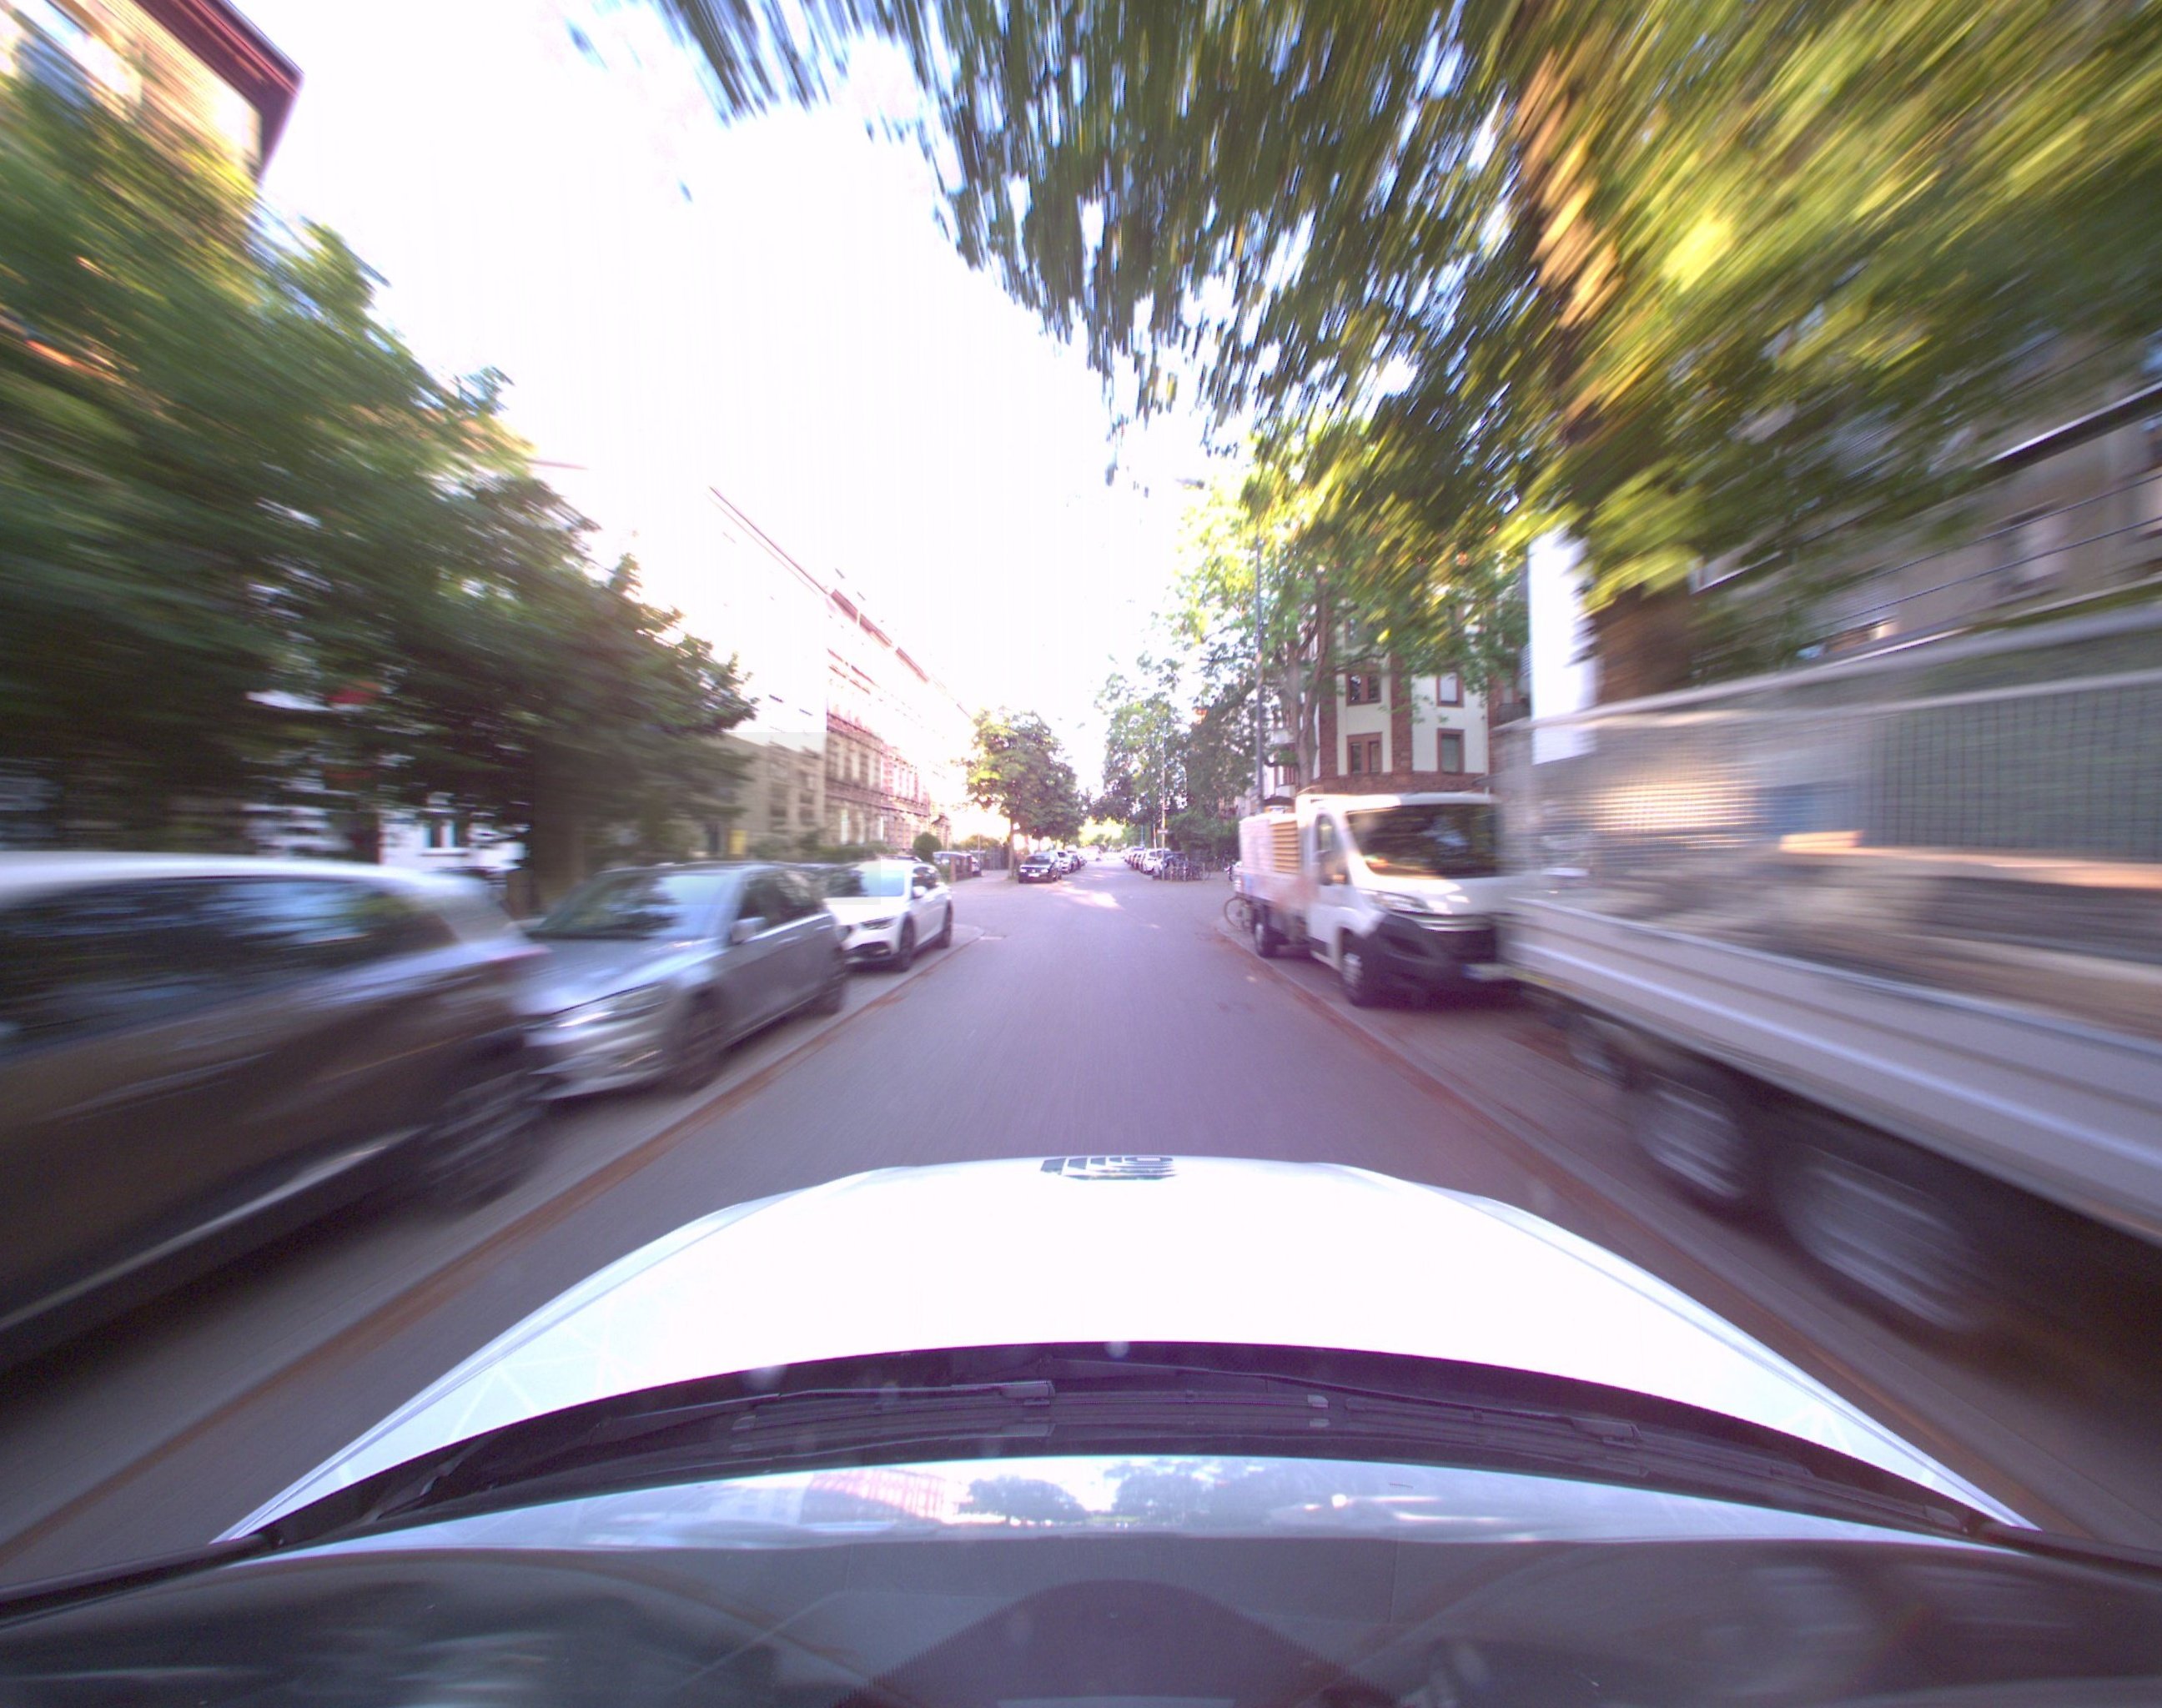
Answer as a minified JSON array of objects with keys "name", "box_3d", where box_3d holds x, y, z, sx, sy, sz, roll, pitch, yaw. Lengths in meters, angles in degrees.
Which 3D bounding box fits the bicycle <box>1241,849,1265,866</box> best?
[{"name":"bicycle","box_3d":[11.290,0.212,53.482,1.504,1.034,0.330,-2,1,-1]}]

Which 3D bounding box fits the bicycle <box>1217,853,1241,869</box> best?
[{"name":"bicycle","box_3d":[9.820,0.455,53.967,1.504,1.034,0.330,-2,1,-1]}]

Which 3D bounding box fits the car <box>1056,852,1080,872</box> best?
[{"name":"car","box_3d":[-1.026,0.650,66.594,1.709,1.566,3.790,0,0,2]}]

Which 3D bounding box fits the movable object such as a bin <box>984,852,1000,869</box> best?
[{"name":"movable object such as a bin","box_3d":[-7.120,0.510,65.342,1.007,1.321,1.007,2,1,6]}]

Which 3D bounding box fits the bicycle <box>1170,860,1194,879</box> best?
[{"name":"bicycle","box_3d":[5.355,0.816,43.291,1.228,0.947,0.328,-2,1,-21]}]

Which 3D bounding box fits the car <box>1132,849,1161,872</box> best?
[{"name":"car","box_3d":[4.651,0.476,58.330,1.681,1.606,4.208,0,0,-1]}]

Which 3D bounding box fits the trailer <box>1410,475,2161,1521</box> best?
[{"name":"trailer","box_3d":[3.377,0.275,3.641,1.947,2.295,4.646,-3,0,2]}]

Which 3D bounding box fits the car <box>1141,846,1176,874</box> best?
[{"name":"car","box_3d":[4.983,0.402,53.076,1.792,1.711,4.599,-1,0,-1]}]

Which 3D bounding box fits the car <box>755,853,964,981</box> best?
[{"name":"car","box_3d":[-3.082,0.774,12.449,1.683,1.502,4.741,2,1,2]}]

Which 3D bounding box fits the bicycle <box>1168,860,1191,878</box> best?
[{"name":"bicycle","box_3d":[5.296,0.806,43.906,1.230,0.951,0.328,-2,1,-26]}]

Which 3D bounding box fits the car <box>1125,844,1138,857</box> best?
[{"name":"car","box_3d":[7.251,-0.520,117.484,1.681,1.811,3.938,0,0,-1]}]

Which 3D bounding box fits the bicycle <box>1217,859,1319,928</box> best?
[{"name":"bicycle","box_3d":[3.729,0.782,16.295,1.898,1.258,0.406,-3,0,-4]}]

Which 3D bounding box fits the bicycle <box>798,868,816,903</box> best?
[{"name":"bicycle","box_3d":[-9.238,1.028,27.440,0.368,1.109,1.837,-1,0,-24]}]

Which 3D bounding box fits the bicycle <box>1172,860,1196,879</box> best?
[{"name":"bicycle","box_3d":[5.401,0.801,42.589,1.228,0.957,0.328,-2,1,-21]}]

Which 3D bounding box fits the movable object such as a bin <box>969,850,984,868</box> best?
[{"name":"movable object such as a bin","box_3d":[-8.356,0.387,65.204,1.097,1.414,1.001,1,1,-12]}]

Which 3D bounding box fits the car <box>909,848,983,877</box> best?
[{"name":"car","box_3d":[-8.165,0.492,49.448,4.079,1.527,1.709,2,0,0]}]

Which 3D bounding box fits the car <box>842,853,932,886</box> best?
[{"name":"car","box_3d":[-8.832,0.683,37.211,3.541,1.447,1.823,0,1,10]}]

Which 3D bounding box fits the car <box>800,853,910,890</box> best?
[{"name":"car","box_3d":[-9.555,0.726,34.596,4.065,1.447,1.824,0,1,12]}]

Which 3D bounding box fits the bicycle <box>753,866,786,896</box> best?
[{"name":"bicycle","box_3d":[-11.637,0.995,30.450,0.394,1.062,1.879,-1,0,3]}]

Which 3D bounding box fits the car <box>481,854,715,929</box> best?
[{"name":"car","box_3d":[-11.416,0.849,19.535,4.449,1.552,1.704,-1,1,-8]}]

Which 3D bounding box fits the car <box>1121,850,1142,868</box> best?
[{"name":"car","box_3d":[4.690,0.449,76.530,1.681,1.606,3.938,0,0,-1]}]

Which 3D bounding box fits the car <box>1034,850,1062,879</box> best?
[{"name":"car","box_3d":[-1.878,0.577,47.118,1.591,1.603,3.742,0,0,-1]}]

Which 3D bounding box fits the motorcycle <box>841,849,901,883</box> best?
[{"name":"motorcycle","box_3d":[-10.348,0.588,40.166,2.834,1.638,0.677,-1,0,10]}]

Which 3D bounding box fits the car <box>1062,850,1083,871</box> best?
[{"name":"car","box_3d":[-0.728,0.511,72.085,1.709,1.790,4.217,0,0,2]}]

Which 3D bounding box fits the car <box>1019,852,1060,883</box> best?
[{"name":"car","box_3d":[-2.126,0.666,42.325,1.609,1.470,3.966,0,0,4]}]

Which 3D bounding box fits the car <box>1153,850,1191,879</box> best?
[{"name":"car","box_3d":[5.243,0.581,47.168,1.682,1.592,3.656,-1,0,-2]}]

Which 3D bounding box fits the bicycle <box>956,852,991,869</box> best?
[{"name":"bicycle","box_3d":[-8.284,0.505,62.923,2.515,1.192,0.645,2,1,7]}]

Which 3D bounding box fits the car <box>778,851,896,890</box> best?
[{"name":"car","box_3d":[-9.621,0.647,32.233,4.067,1.447,1.714,0,1,10]}]

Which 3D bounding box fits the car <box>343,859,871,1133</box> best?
[{"name":"car","box_3d":[-3.222,0.807,6.750,1.683,1.502,4.404,-1,0,2]}]

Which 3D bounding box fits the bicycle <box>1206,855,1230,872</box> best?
[{"name":"bicycle","box_3d":[8.971,0.628,53.272,1.504,1.034,0.330,-2,1,-1]}]

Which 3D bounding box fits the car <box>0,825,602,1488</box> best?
[{"name":"car","box_3d":[-3.405,0.707,2.124,1.684,1.563,4.401,2,1,0]}]

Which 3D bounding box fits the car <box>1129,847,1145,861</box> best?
[{"name":"car","box_3d":[6.390,-0.009,92.662,1.534,1.521,3.430,0,0,-1]}]

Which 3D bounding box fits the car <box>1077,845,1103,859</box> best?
[{"name":"car","box_3d":[1.558,-0.371,139.628,4.335,2.318,1.745,0,0,0]}]

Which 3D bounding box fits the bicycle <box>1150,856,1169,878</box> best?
[{"name":"bicycle","box_3d":[4.254,0.696,44.155,0.439,1.173,1.646,-1,0,27]}]

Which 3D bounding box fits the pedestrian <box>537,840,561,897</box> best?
[{"name":"pedestrian","box_3d":[-17.103,0.450,26.173,0.502,1.764,0.619,0,3,-20]}]

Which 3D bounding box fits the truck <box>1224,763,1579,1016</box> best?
[{"name":"truck","box_3d":[3.487,0.333,10.731,1.971,2.244,6.775,-1,0,0]}]

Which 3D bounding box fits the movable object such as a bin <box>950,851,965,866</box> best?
[{"name":"movable object such as a bin","box_3d":[-9.951,0.344,65.597,1.097,1.209,1.001,1,1,-12]}]

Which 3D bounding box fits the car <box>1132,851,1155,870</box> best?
[{"name":"car","box_3d":[5.245,0.518,68.460,1.680,1.441,4.211,-3,0,2]}]

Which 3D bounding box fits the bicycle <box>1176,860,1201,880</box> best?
[{"name":"bicycle","box_3d":[5.577,0.828,42.192,1.226,0.963,0.329,-1,1,-15]}]

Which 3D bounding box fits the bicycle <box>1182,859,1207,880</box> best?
[{"name":"bicycle","box_3d":[5.813,0.798,41.637,1.221,0.987,0.330,-2,1,-2]}]

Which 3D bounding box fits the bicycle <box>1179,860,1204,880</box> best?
[{"name":"bicycle","box_3d":[5.587,0.816,41.270,1.220,0.987,0.330,-2,1,-1]}]

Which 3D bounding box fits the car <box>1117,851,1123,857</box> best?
[{"name":"car","box_3d":[11.236,-0.080,235.867,1.709,1.596,3.484,0,0,2]}]

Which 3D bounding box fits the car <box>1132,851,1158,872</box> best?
[{"name":"car","box_3d":[4.902,0.572,63.122,1.681,1.606,3.747,0,0,-1]}]

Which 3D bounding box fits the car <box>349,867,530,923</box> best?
[{"name":"car","box_3d":[-18.416,1.158,23.597,3.715,1.473,1.786,-1,-2,-21]}]

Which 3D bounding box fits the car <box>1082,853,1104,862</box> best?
[{"name":"car","box_3d":[1.994,0.584,136.726,3.609,1.461,1.605,0,0,-2]}]

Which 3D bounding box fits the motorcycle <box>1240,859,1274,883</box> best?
[{"name":"motorcycle","box_3d":[8.591,0.825,39.761,2.225,1.079,0.432,-2,2,-43]}]

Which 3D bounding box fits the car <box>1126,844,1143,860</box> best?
[{"name":"car","box_3d":[6.356,-0.225,96.792,1.675,1.941,3.879,0,0,-1]}]

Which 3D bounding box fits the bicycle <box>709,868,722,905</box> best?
[{"name":"bicycle","box_3d":[-11.880,1.034,26.508,0.368,1.116,1.837,-1,0,-24]}]

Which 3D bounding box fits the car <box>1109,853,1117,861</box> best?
[{"name":"car","box_3d":[7.222,0.647,183.322,1.806,1.596,3.484,0,0,2]}]

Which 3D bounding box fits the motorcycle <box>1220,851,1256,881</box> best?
[{"name":"motorcycle","box_3d":[7.849,0.601,40.660,2.226,1.408,0.578,-2,2,-45]}]

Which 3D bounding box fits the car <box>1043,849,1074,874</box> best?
[{"name":"car","box_3d":[-1.586,0.496,58.306,1.914,1.717,4.430,0,0,2]}]

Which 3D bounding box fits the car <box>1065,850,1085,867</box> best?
[{"name":"car","box_3d":[-0.579,0.427,78.942,1.709,1.596,4.521,0,0,2]}]
